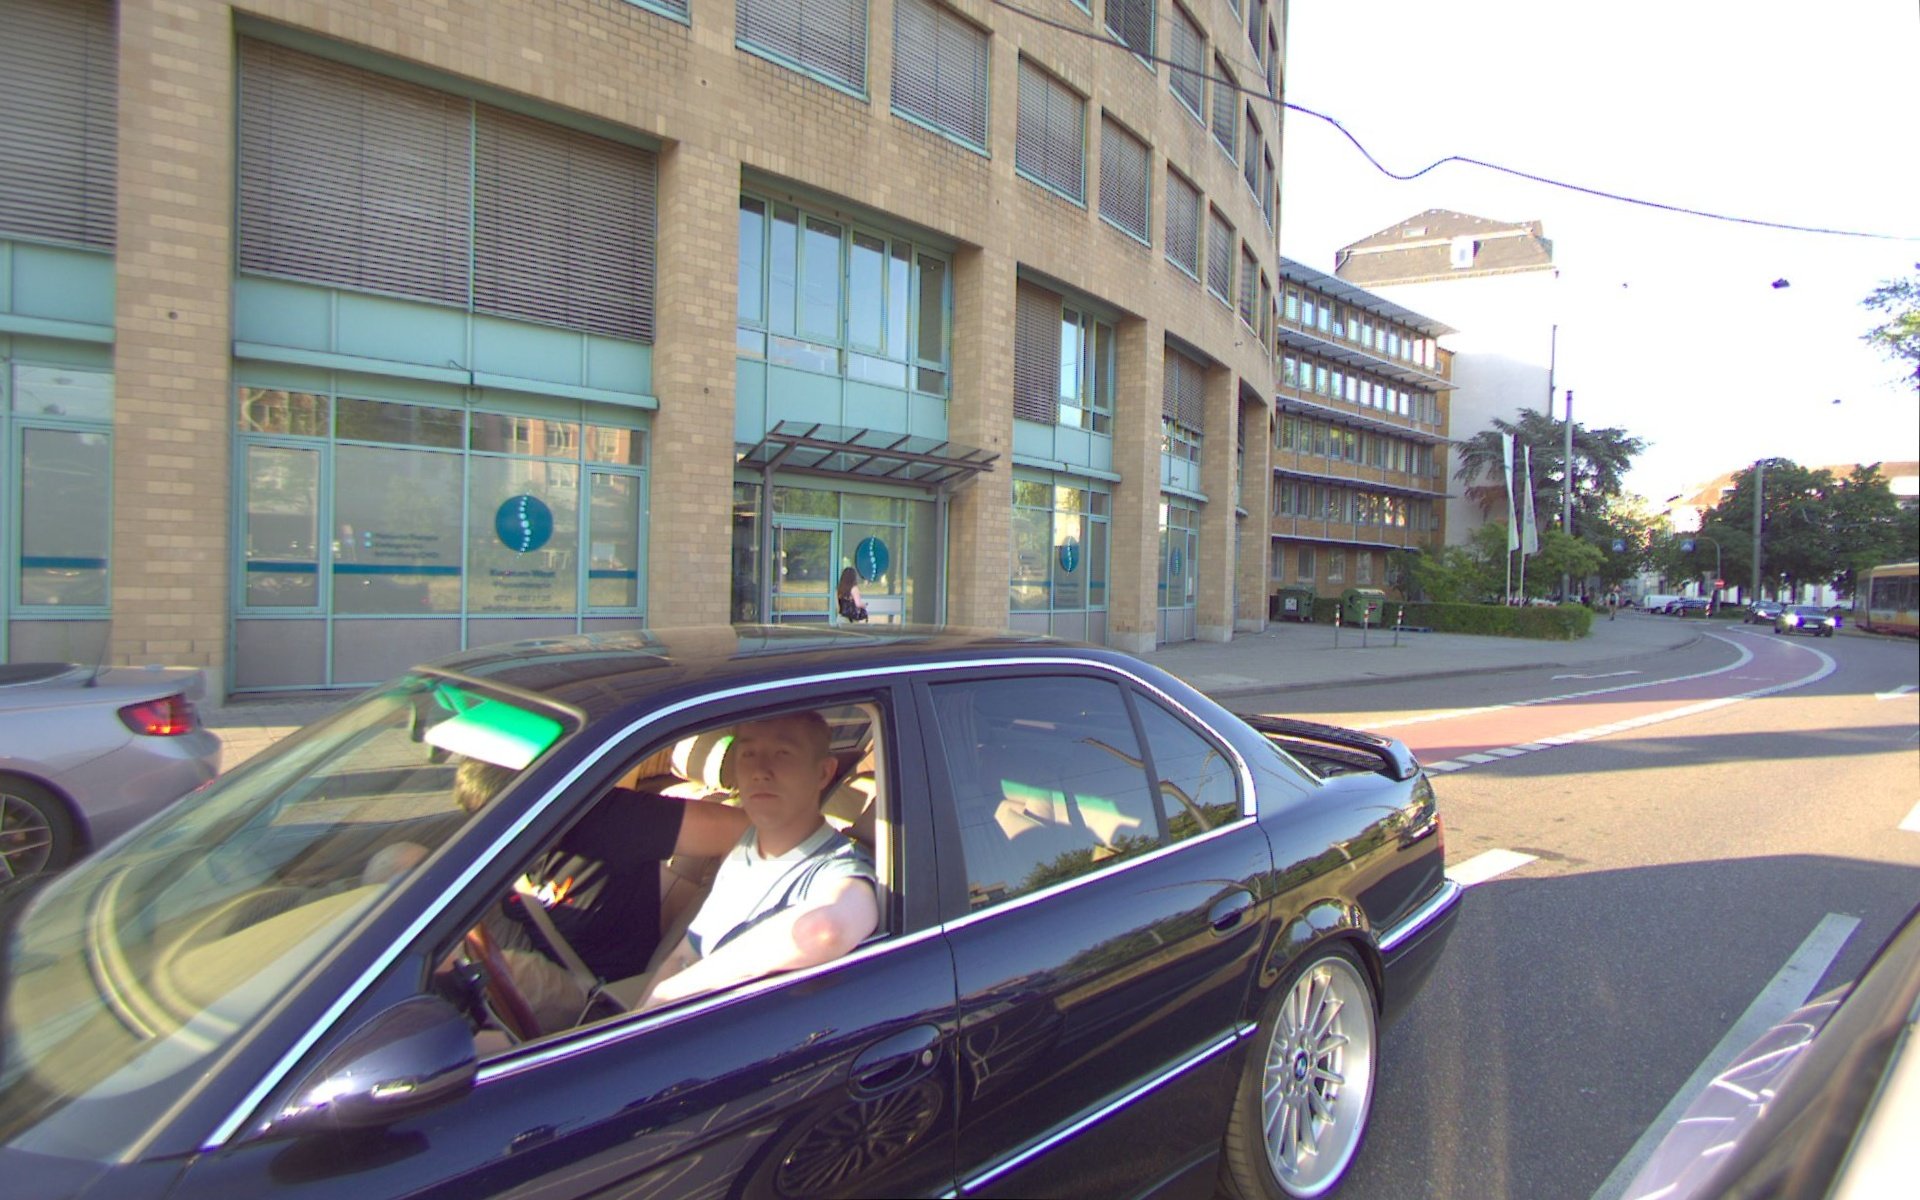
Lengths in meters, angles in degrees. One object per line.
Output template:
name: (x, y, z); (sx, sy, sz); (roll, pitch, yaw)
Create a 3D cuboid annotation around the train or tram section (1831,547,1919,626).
train or tram section: (49.021, -0.694, 53.733); (2.897, 3.785, 12.037); (2, 1, 35)

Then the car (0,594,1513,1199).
car: (-0.719, 0.703, 2.325); (4.656, 1.402, 1.997); (0, 1, -41)

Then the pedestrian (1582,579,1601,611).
pedestrian: (37.099, -0.302, 59.432); (0.711, 1.830, 0.728); (0, 1, -41)

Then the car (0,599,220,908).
car: (-5.915, 0.701, 4.468); (4.153, 1.403, 1.746); (0, 0, -41)

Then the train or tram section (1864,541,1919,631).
train or tram section: (42.707, -0.564, 43.736); (2.862, 3.785, 12.056); (2, 1, 30)

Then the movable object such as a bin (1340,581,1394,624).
movable object such as a bin: (14.866, 0.075, 36.956); (1.311, 1.477, 1.424); (0, 1, -45)

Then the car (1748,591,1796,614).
car: (51.046, 0.162, 63.628); (3.932, 1.405, 1.756); (0, -1, -42)

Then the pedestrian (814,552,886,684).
pedestrian: (-1.471, 0.222, 13.504); (0.702, 1.702, 0.626); (0, 1, -44)

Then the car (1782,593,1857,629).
car: (39.214, 0.478, 46.287); (1.985, 1.479, 4.096); (2, 1, 32)

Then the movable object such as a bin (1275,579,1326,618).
movable object such as a bin: (13.298, -0.081, 39.575); (1.310, 1.477, 1.425); (0, 1, -43)

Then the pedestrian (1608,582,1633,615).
pedestrian: (39.096, -0.086, 59.921); (0.898, 1.918, 1.121); (1, 1, 15)
